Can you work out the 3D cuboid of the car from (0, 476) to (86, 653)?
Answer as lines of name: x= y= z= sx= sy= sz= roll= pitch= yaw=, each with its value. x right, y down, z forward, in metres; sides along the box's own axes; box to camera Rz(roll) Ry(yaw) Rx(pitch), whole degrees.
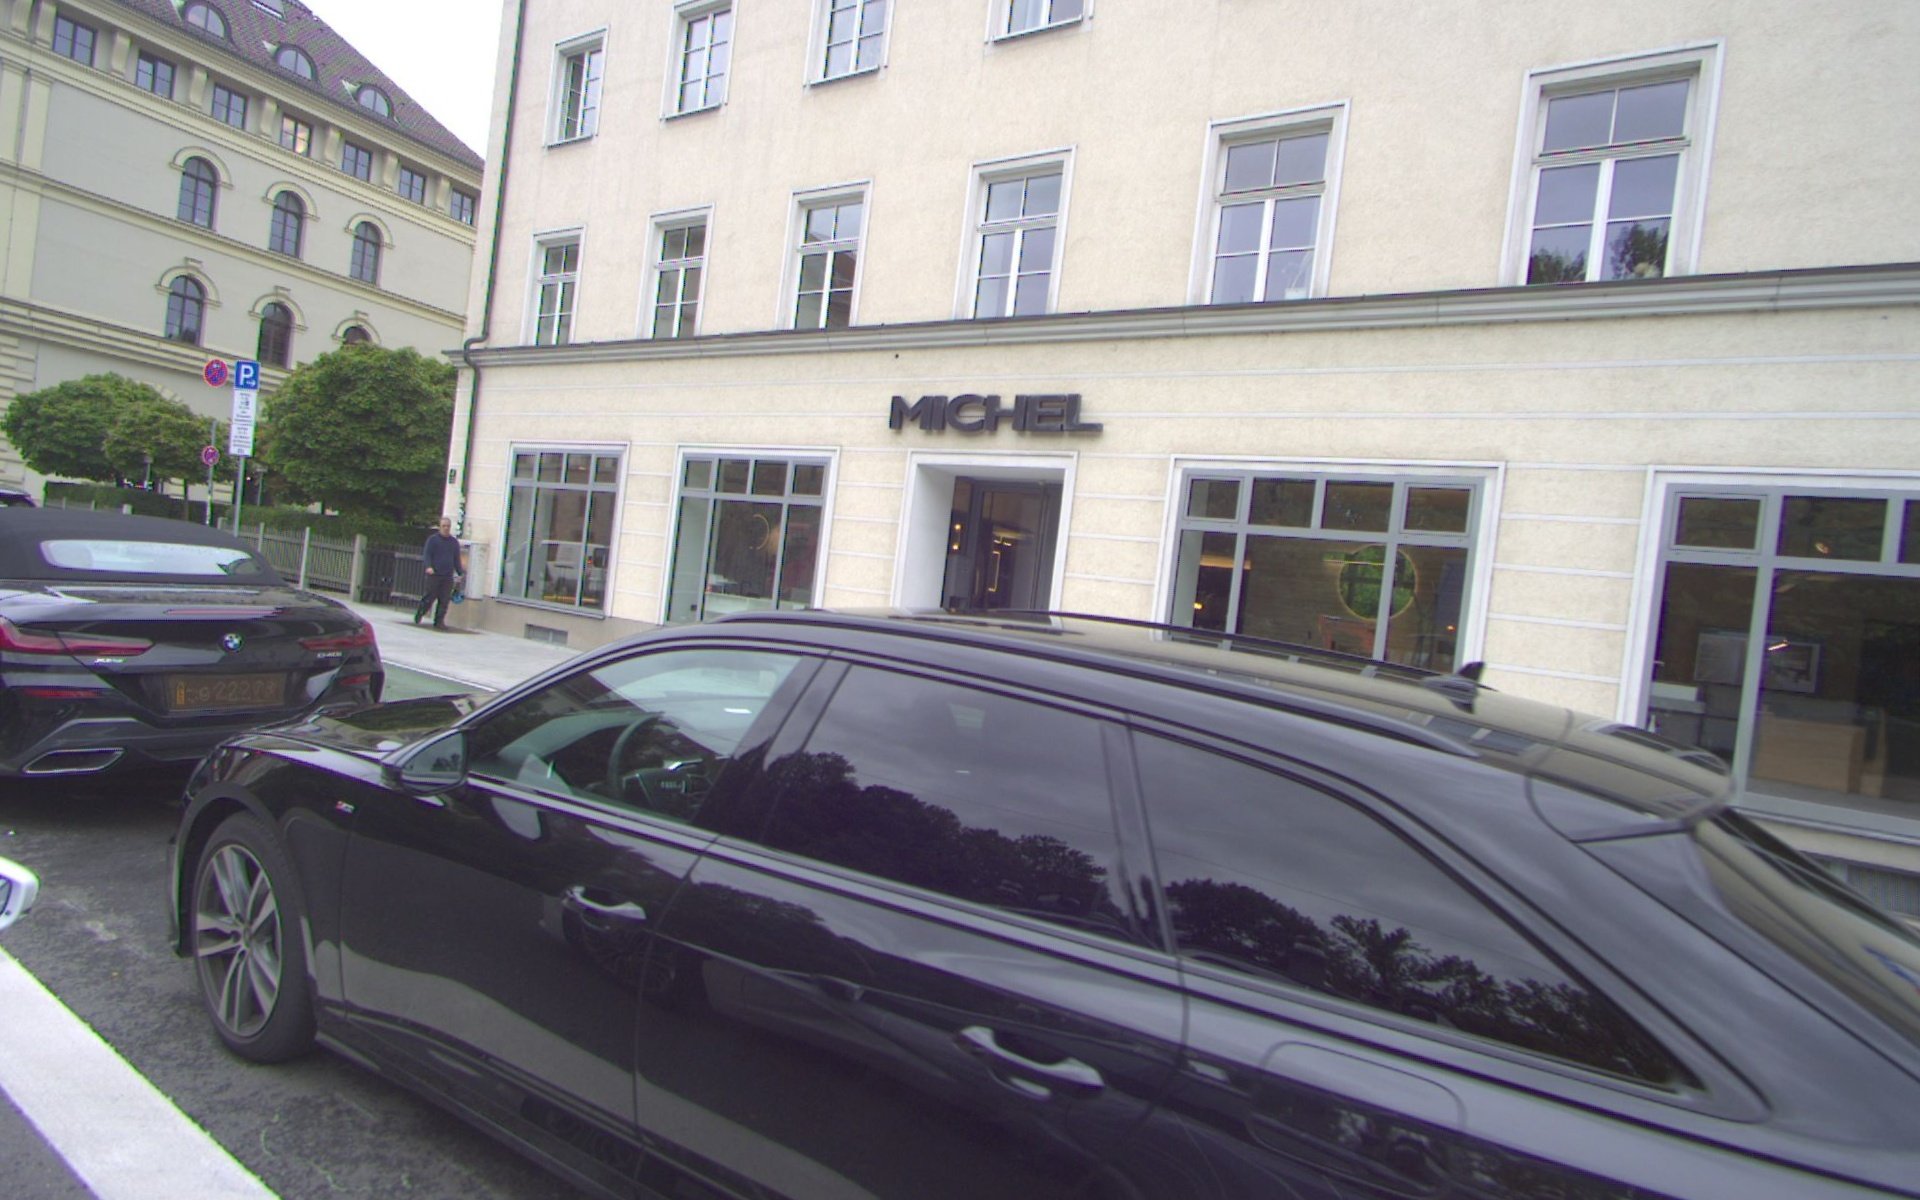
car: x=-9.798 y=-0.503 z=9.312 sx=3.368 sy=1.514 sz=1.611 roll=7 pitch=1 yaw=32

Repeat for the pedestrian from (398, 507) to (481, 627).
pedestrian: x=-8.707 y=-0.544 z=16.842 sx=0.764 sy=1.859 sz=0.790 roll=8 pitch=1 yaw=34

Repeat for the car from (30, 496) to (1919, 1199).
car: x=-0.376 y=0.726 z=2.718 sx=4.607 sy=1.499 sz=1.803 roll=7 pitch=2 yaw=30

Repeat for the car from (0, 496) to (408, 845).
car: x=-5.340 y=0.149 z=5.917 sx=4.354 sy=1.403 sz=1.683 roll=7 pitch=-1 yaw=33
